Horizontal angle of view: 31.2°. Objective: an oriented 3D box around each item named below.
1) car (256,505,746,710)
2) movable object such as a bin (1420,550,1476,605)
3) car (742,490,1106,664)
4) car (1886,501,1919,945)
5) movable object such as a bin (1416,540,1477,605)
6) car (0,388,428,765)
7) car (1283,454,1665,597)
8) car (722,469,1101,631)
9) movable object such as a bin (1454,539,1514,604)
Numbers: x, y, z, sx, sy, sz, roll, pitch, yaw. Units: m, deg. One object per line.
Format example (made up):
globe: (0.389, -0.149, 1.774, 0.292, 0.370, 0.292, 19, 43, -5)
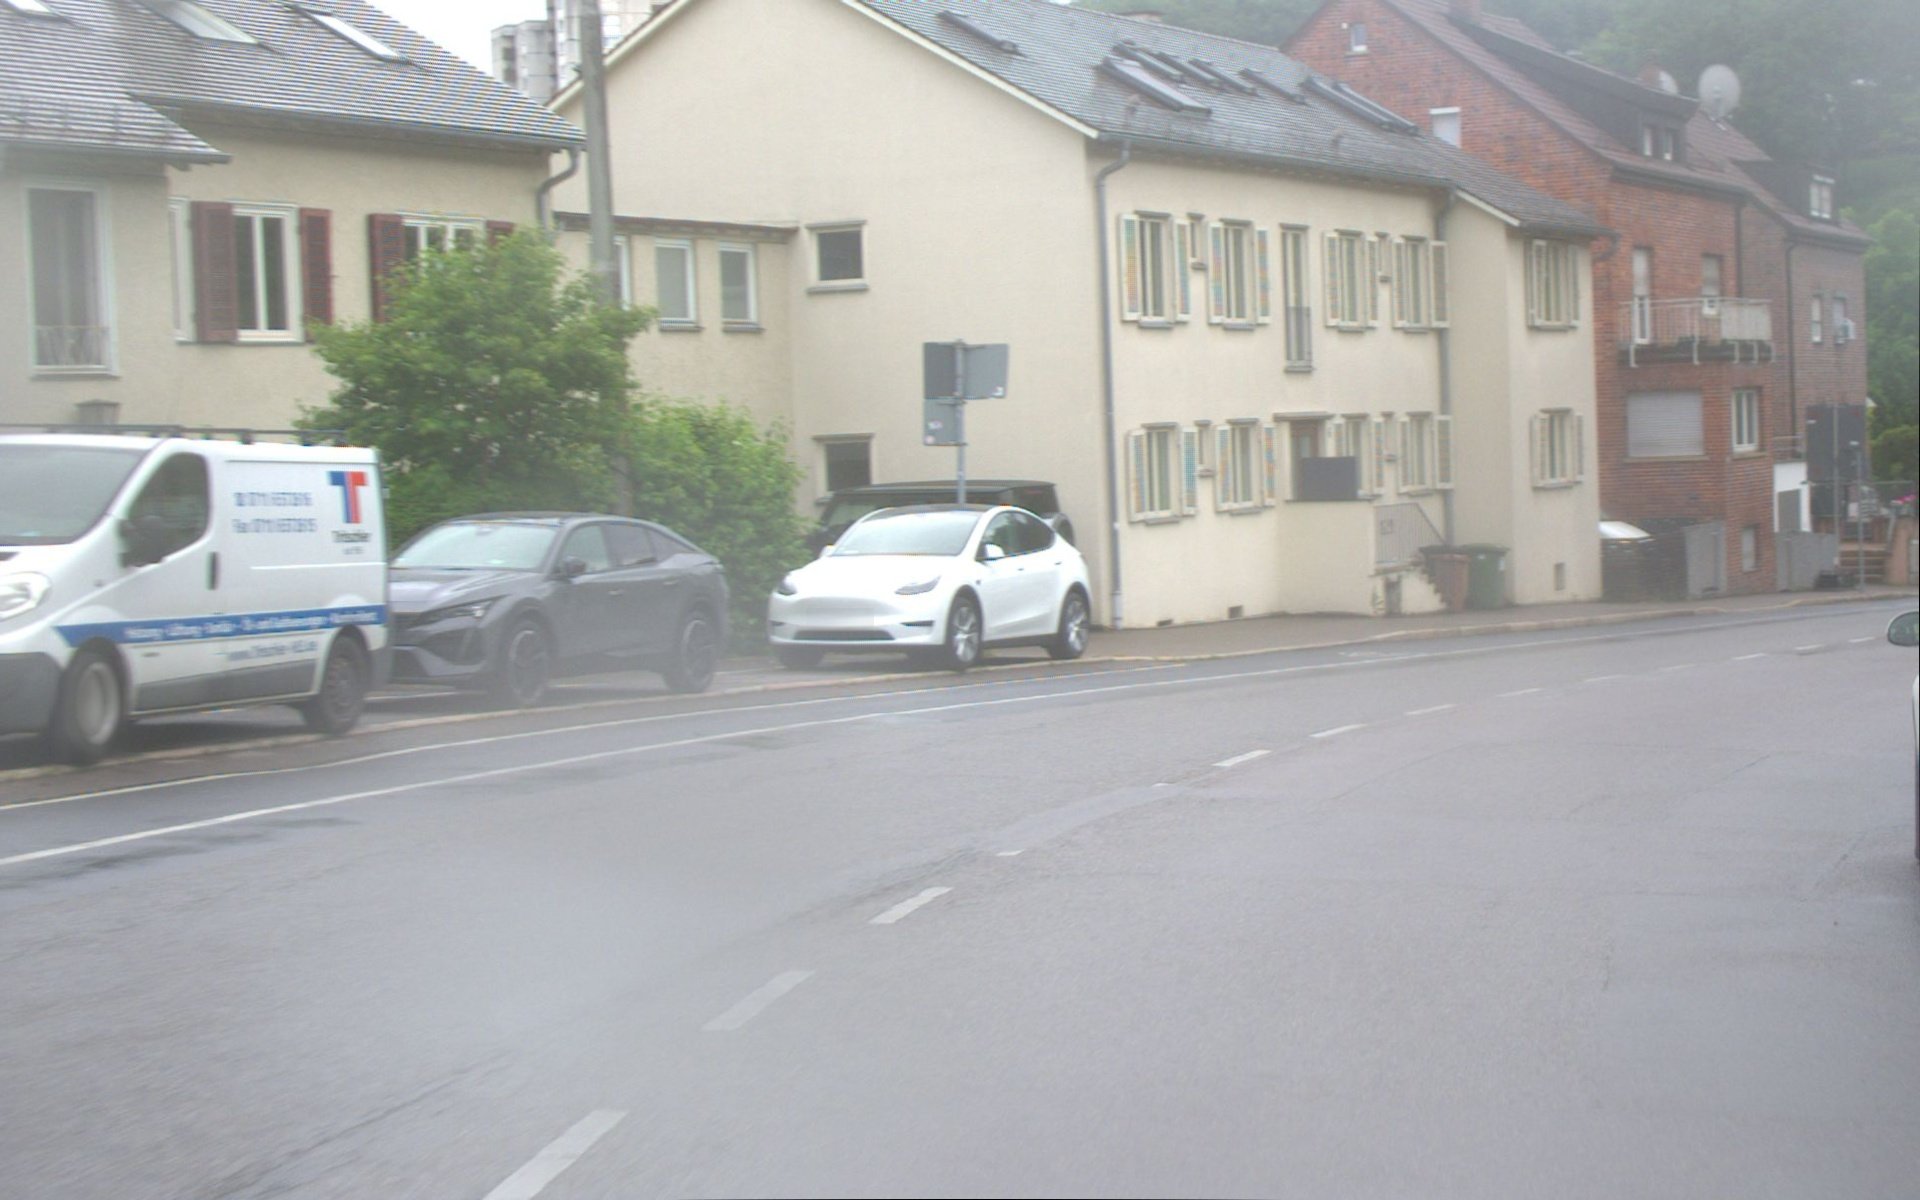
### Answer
car: (-3.496, 0.013, 27.128, 1.810, 1.471, 4.517, 1, 1, 22)
movable object such as a bin: (7.748, -0.356, 54.602, 0.674, 0.856, 0.707, 1, 1, 28)
car: (-0.271, -0.254, 34.646, 1.931, 1.625, 4.672, 1, 1, 23)
car: (4.899, 0.416, 14.552, 1.804, 1.643, 4.207, 0, 1, 14)
movable object such as a bin: (7.865, -0.453, 55.594, 0.783, 1.043, 0.707, 1, 1, 28)
car: (-5.345, -0.179, 21.576, 1.850, 2.072, 5.016, 1, 1, 19)
car: (9.513, -1.347, 63.801, 6.664, 2.545, 2.164, 0, 0, 28)
car: (-0.627, -0.647, 44.487, 4.494, 2.006, 1.886, 0, 2, 24)
movable object such as a bin: (8.558, -0.473, 56.147, 0.783, 1.043, 0.737, 1, 1, 28)
